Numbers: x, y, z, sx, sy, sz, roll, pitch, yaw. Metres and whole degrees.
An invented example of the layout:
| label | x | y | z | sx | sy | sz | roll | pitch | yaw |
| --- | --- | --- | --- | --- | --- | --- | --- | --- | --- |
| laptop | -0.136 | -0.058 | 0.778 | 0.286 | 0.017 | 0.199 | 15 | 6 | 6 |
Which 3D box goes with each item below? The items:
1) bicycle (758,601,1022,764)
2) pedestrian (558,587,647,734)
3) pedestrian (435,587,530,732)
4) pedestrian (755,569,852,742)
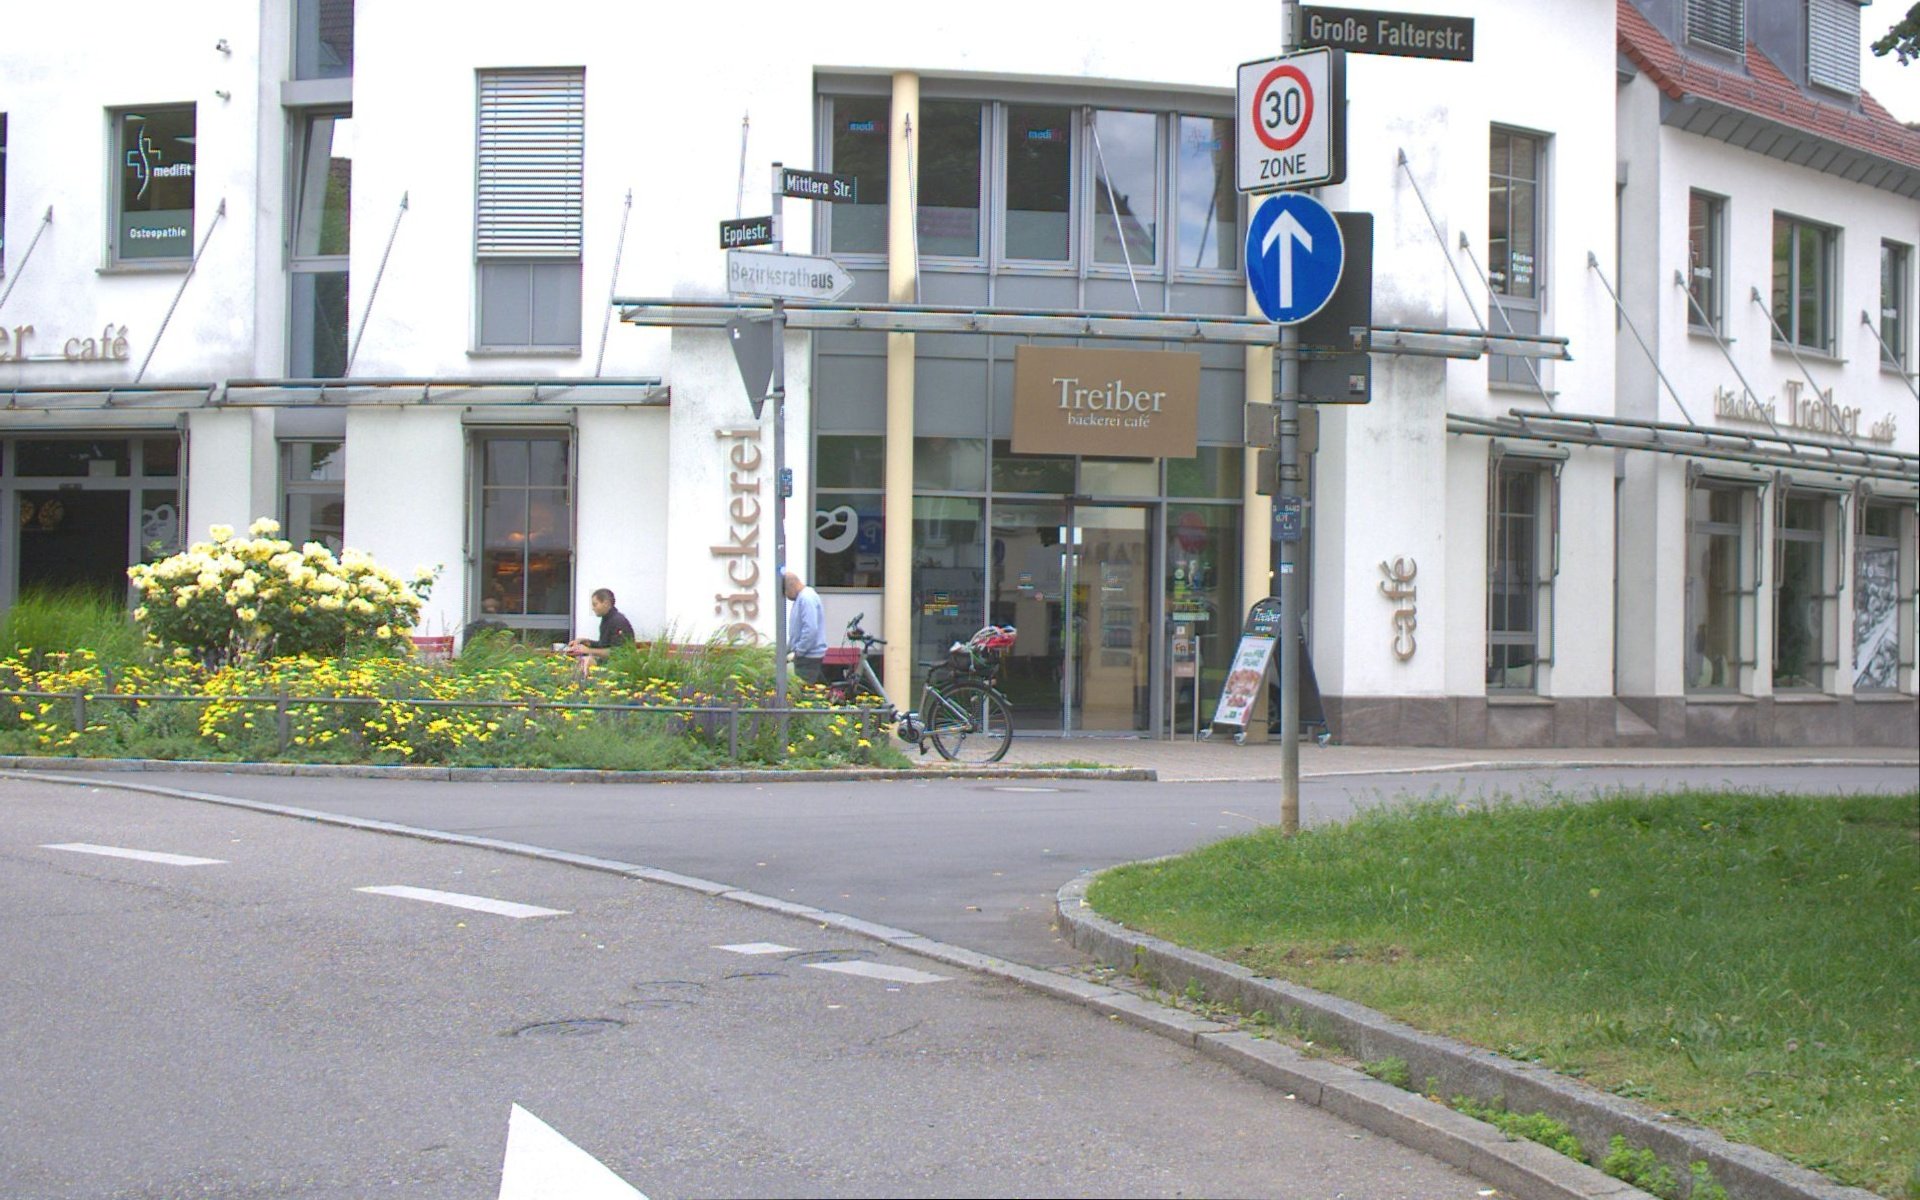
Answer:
| label | x | y | z | sx | sy | sz | roll | pitch | yaw |
| --- | --- | --- | --- | --- | --- | --- | --- | --- | --- |
| bicycle | -0.565 | 0.649 | 27.759 | 1.976 | 1.235 | 0.743 | 2 | 0 | 20 |
| pedestrian | -3.317 | 0.557 | 31.918 | 0.655 | 1.337 | 0.696 | 1 | 0 | 8 |
| pedestrian | -4.467 | 0.551 | 32.182 | 0.700 | 1.327 | 0.684 | 1 | 0 | 8 |
| pedestrian | -1.404 | 0.488 | 30.945 | 0.700 | 1.520 | 0.867 | 1 | 0 | 8 |
